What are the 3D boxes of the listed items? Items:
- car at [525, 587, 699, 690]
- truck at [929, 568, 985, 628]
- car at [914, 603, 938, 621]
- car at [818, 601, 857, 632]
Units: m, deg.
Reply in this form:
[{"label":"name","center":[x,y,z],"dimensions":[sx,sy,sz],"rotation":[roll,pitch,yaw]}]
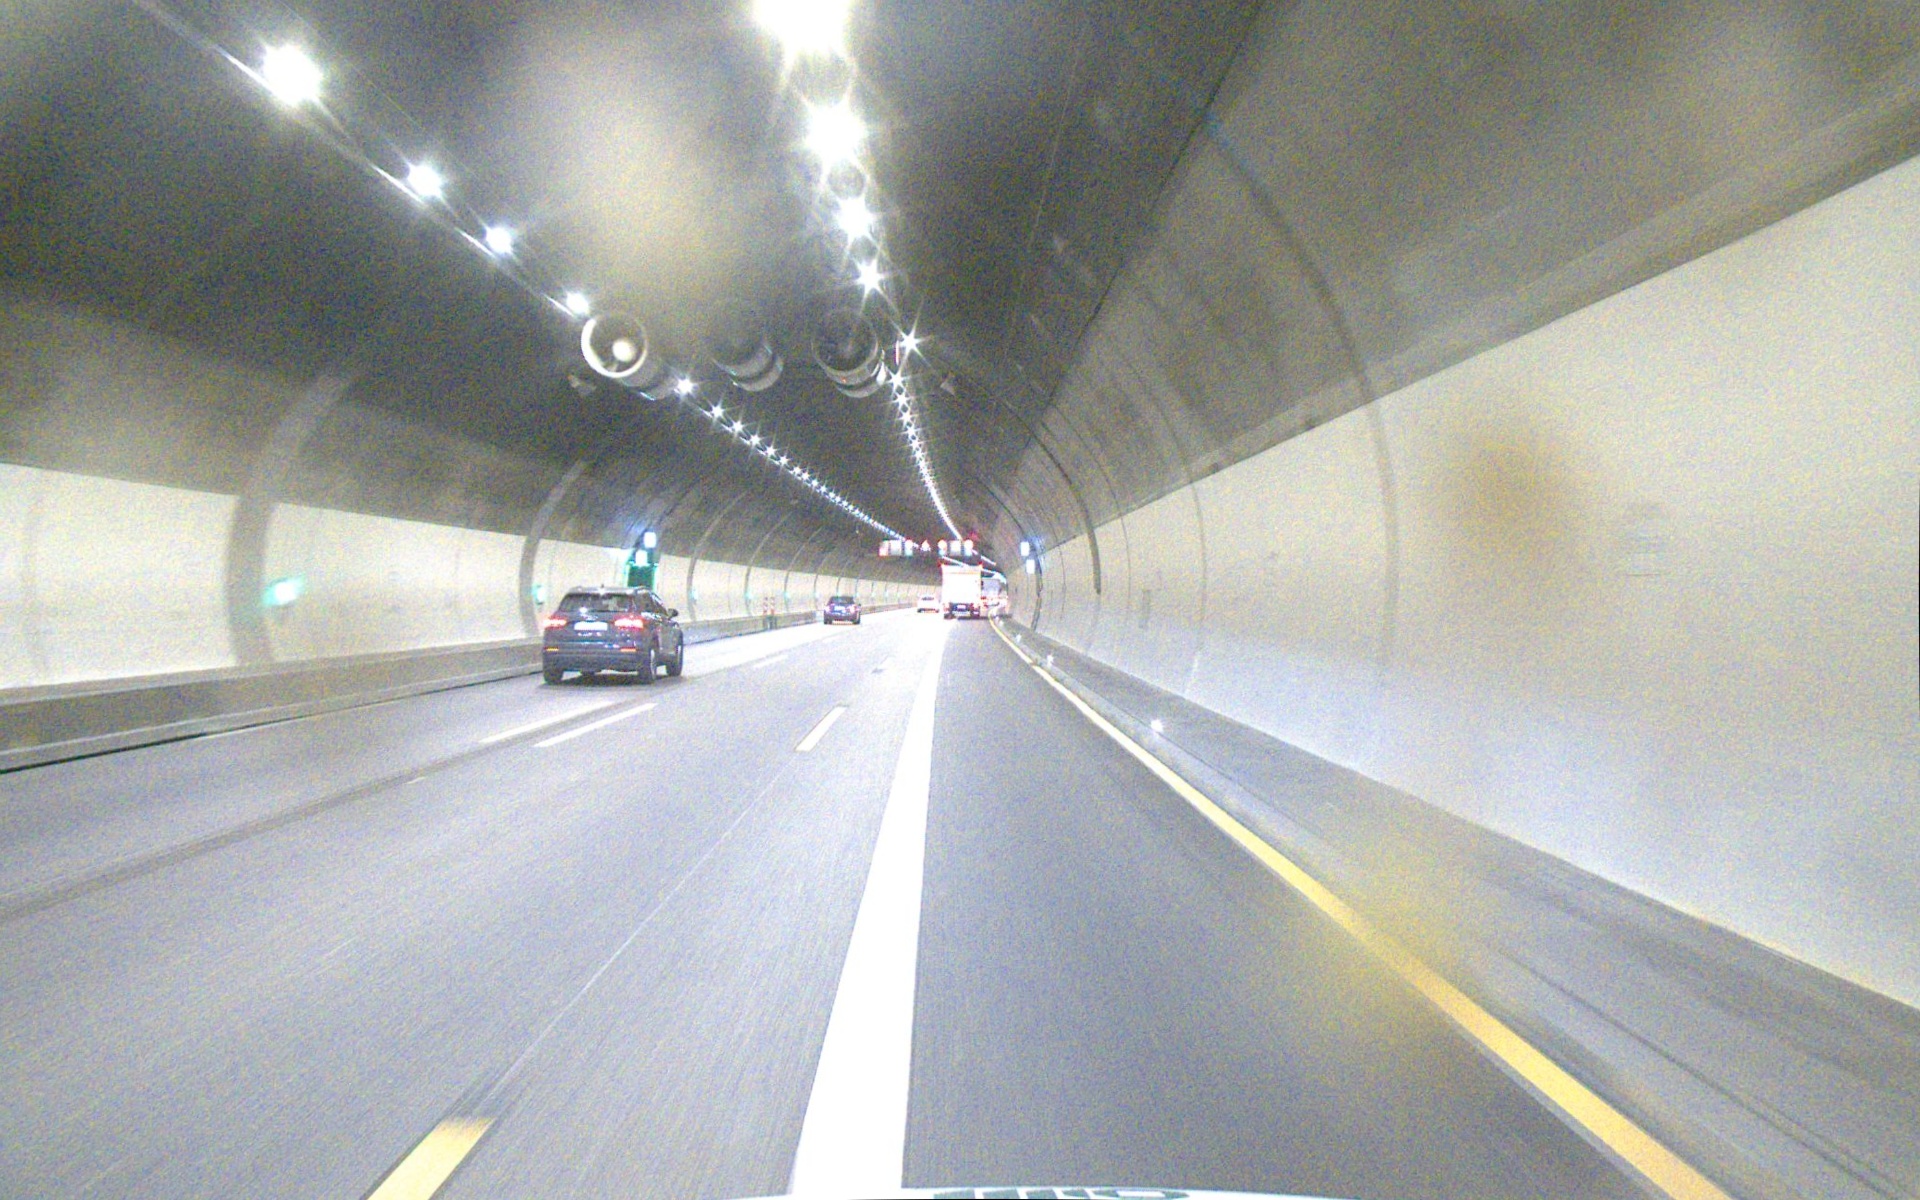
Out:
[{"label":"car","center":[-5.855,0.598,28.422],"dimensions":[1.953,1.567,4.742],"rotation":[-1,0,0]},{"label":"truck","center":[-0.294,-0.203,111.332],"dimensions":[3.520,3.714,10.720],"rotation":[-2,1,-1]},{"label":"car","center":[-2.956,1.002,142.497],"dimensions":[1.953,1.437,4.741],"rotation":[-2,1,-2]},{"label":"car","center":[-6.179,0.815,83.720],"dimensions":[1.655,1.442,3.922],"rotation":[-1,1,-1]}]
